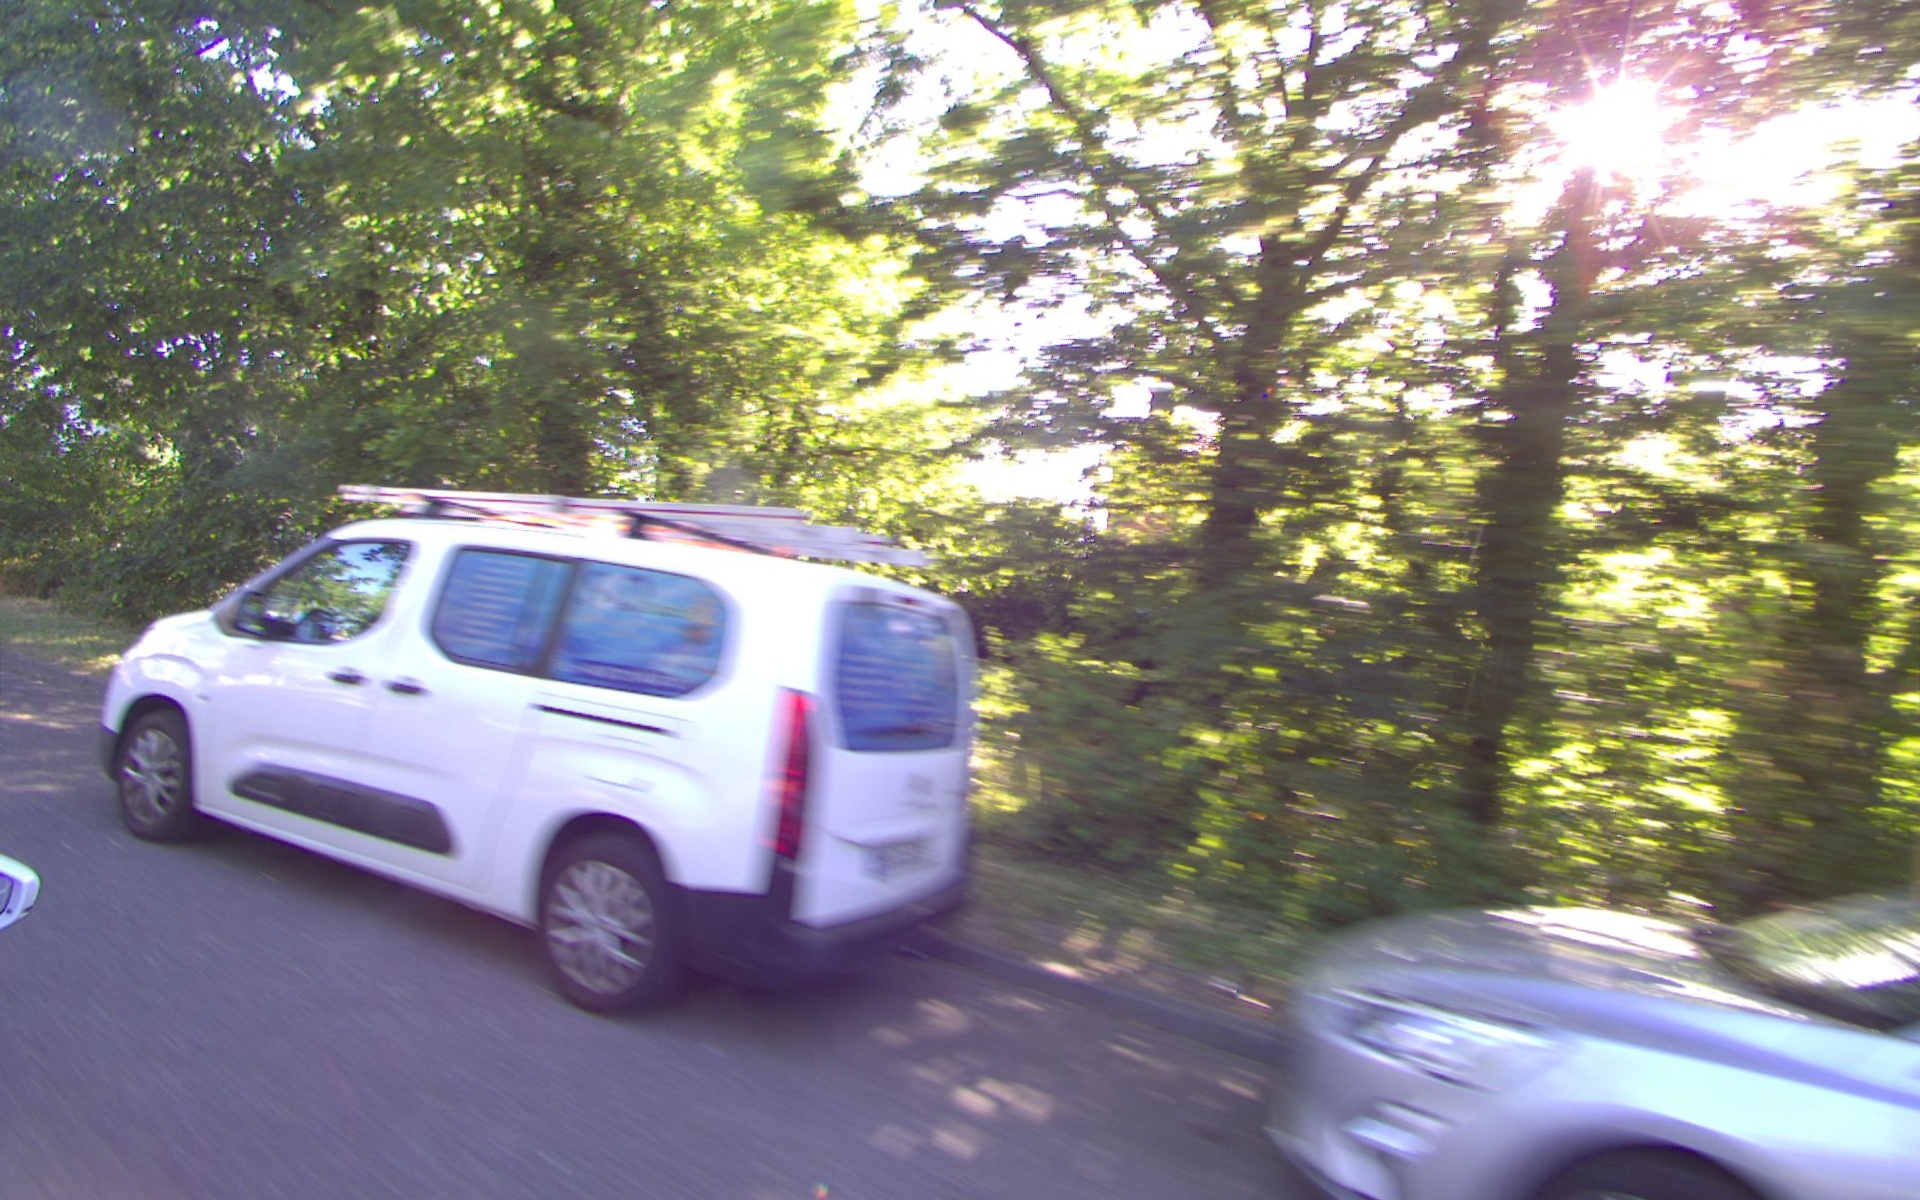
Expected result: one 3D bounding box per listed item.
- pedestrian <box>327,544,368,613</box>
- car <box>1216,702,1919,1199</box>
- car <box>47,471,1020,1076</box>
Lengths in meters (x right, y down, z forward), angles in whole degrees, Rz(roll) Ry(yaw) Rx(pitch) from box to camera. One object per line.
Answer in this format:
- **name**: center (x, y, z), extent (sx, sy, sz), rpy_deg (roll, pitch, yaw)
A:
- **pedestrian**: center (-14.606, -0.506, 23.995), extent (0.528, 1.579, 0.396), rpy_deg (7, -1, 6)
- **car**: center (3.112, 1.358, 2.300), extent (4.534, 1.460, 1.724), rpy_deg (7, -3, 28)
- **car**: center (-2.224, 0.534, 5.074), extent (4.551, 1.768, 1.756), rpy_deg (7, -3, 25)
